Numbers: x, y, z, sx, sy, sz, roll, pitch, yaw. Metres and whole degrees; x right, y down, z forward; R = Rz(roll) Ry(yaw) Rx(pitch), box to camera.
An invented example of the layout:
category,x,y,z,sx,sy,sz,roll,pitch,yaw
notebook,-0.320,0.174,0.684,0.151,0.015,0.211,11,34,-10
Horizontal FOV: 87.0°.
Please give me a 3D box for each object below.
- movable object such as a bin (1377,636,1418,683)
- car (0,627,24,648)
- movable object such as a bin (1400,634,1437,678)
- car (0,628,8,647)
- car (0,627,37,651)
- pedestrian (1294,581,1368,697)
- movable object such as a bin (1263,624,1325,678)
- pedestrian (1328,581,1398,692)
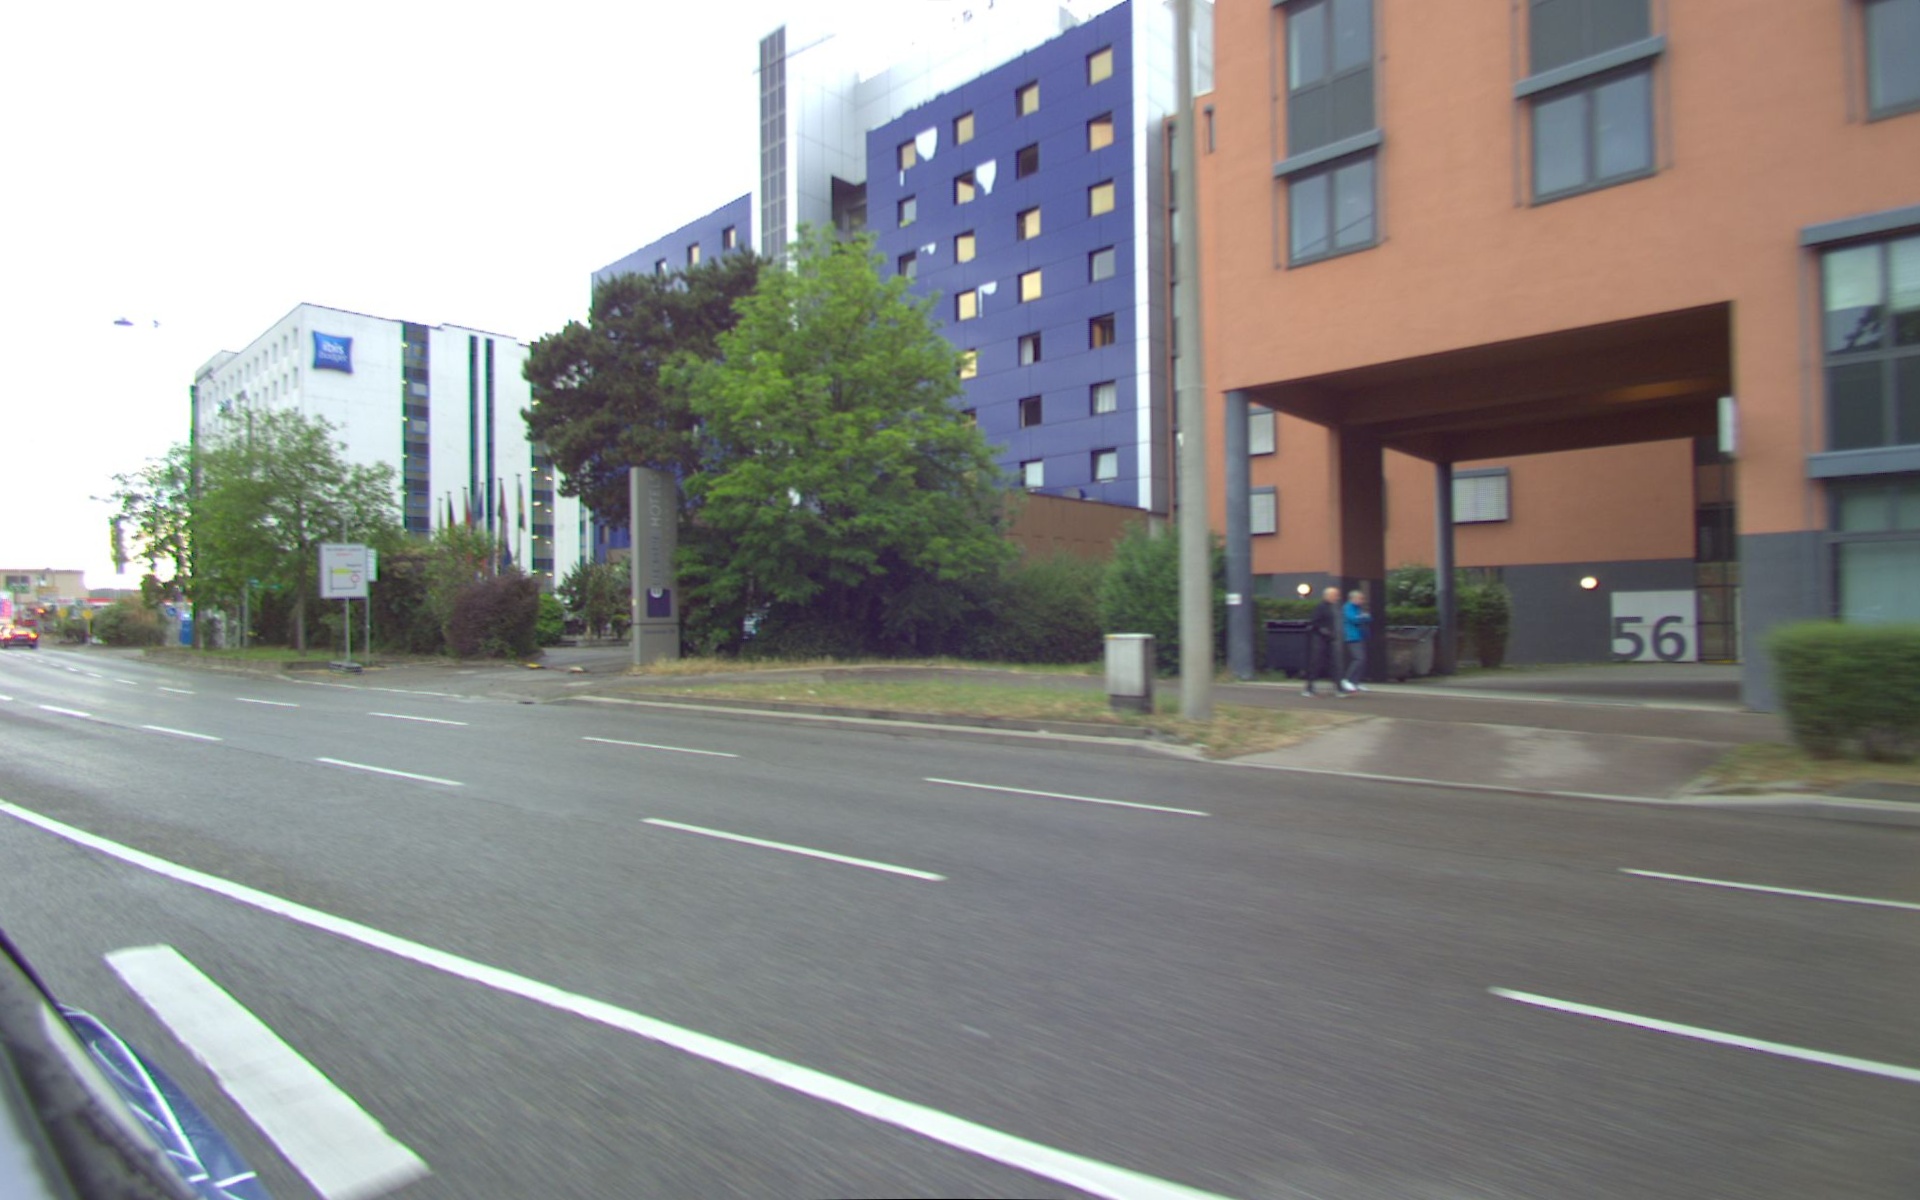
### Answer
category,x,y,z,sx,sy,sz,roll,pitch,yaw
movable object such as a bin,11.825,1.602,27.349,0.673,1.212,1.194,-2,-1,40
car,-74.179,2.881,78.615,3.998,1.580,1.744,-2,-3,42
movable object such as a bin,13.222,1.599,29.185,0.673,1.212,1.194,-2,-1,40
car,-82.170,3.128,85.761,3.998,1.580,1.744,-2,-3,42
car,-65.722,2.711,70.400,3.997,1.580,1.744,-2,-3,41
pedestrian,6.111,0.623,16.667,0.886,1.855,0.738,-2,0,43
movable object such as a bin,8.018,1.209,24.301,1.209,1.257,0.772,-2,-1,39
pedestrian,7.004,0.619,17.599,0.886,1.855,0.738,-2,0,43
